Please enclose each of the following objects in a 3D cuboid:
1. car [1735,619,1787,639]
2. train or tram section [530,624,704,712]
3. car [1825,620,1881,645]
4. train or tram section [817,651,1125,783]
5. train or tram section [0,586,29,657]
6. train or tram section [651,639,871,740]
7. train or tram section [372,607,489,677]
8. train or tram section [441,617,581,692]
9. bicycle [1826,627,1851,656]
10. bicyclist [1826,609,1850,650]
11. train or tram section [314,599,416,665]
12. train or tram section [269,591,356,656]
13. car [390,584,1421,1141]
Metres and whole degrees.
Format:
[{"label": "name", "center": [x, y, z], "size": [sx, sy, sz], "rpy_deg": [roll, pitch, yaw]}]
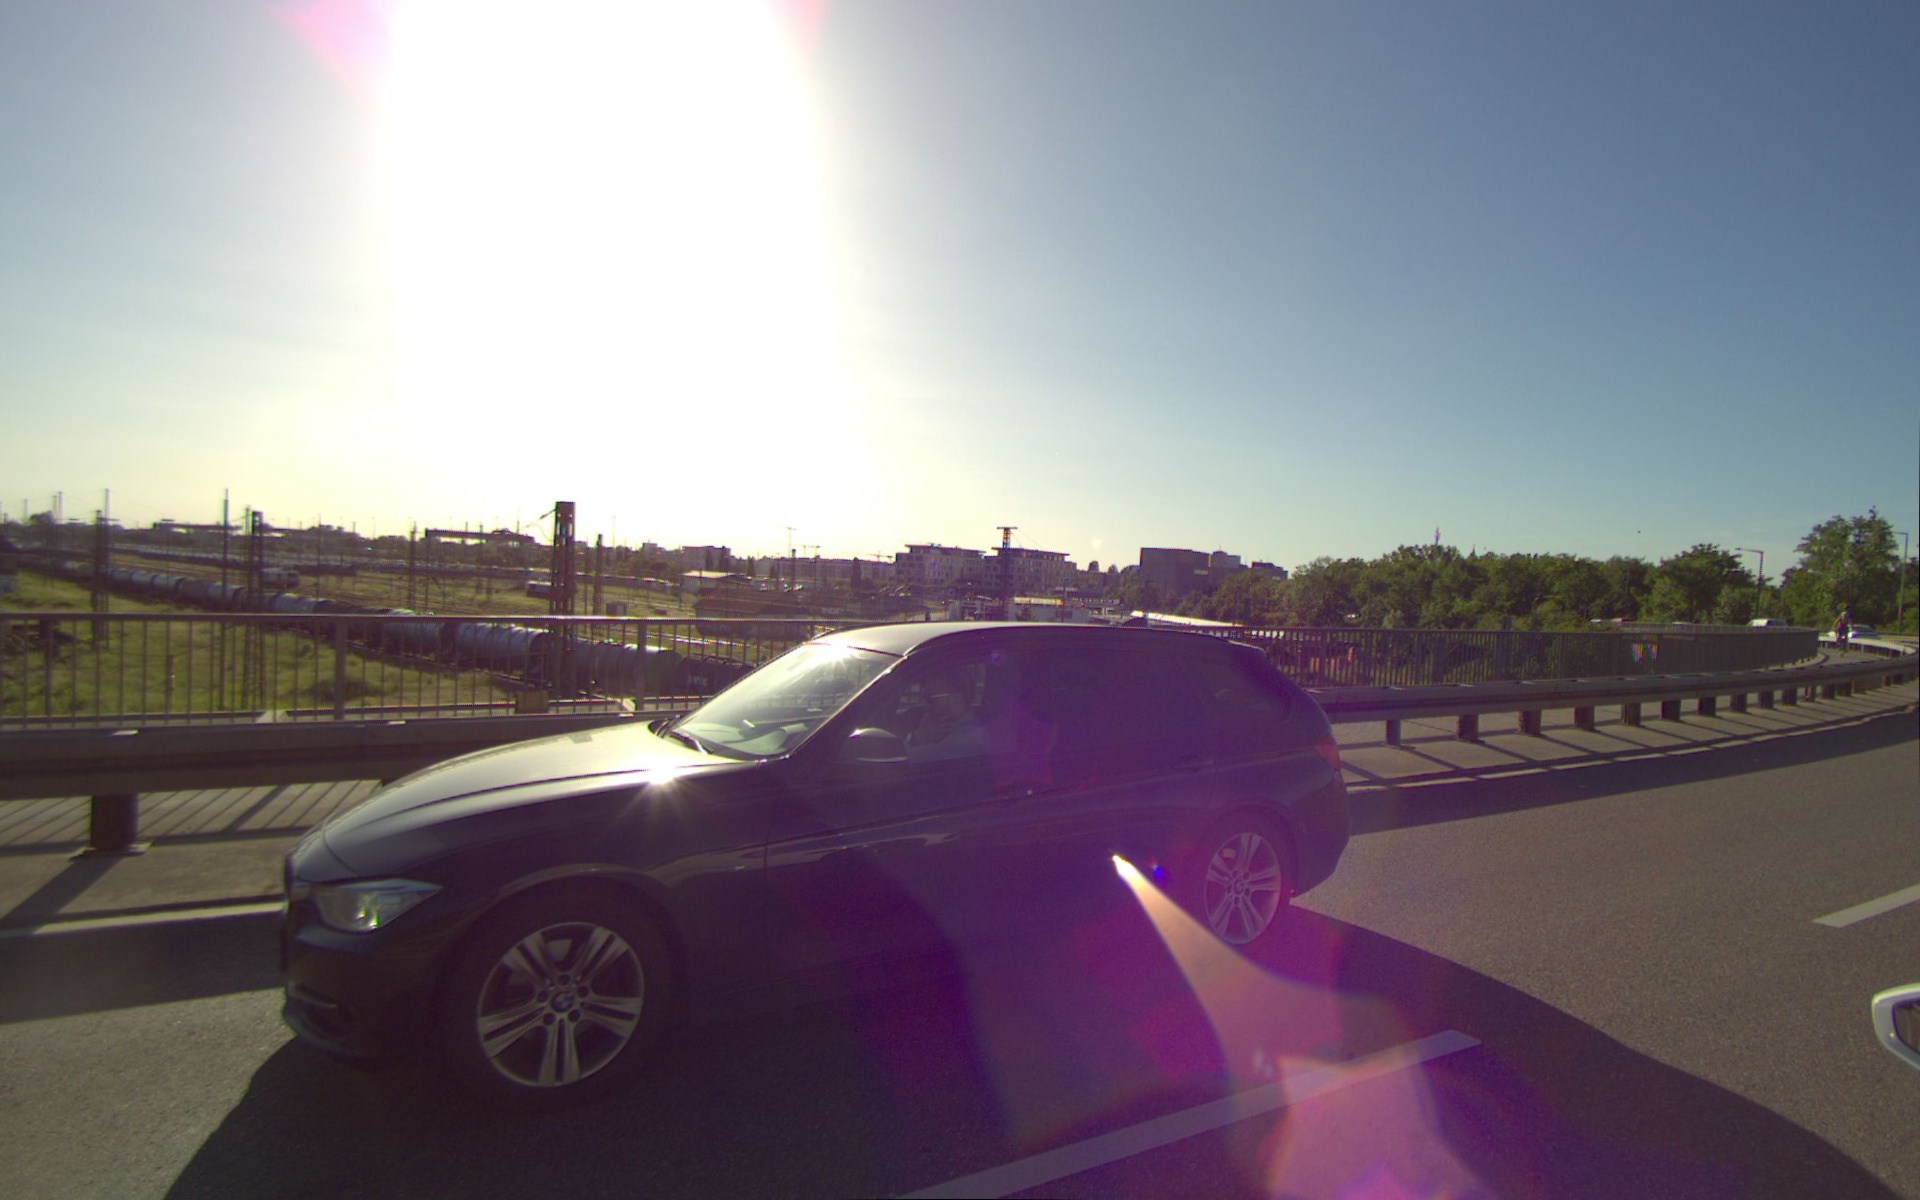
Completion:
[{"label": "car", "center": [68.704, 2.446, 86.247], "size": [1.804, 1.576, 3.896], "rpy_deg": [1, 0, 10]}, {"label": "train or tram section", "center": [-24.515, 4.476, 70.834], "size": [16.421, 5.083, 3.886], "rpy_deg": [1, 0, 41]}, {"label": "car", "center": [63.350, 2.267, 71.330], "size": [1.829, 1.606, 3.912], "rpy_deg": [1, 0, 23]}, {"label": "train or tram section", "center": [-0.061, 5.299, 49.408], "size": [16.521, 4.652, 3.886], "rpy_deg": [1, 0, 41]}, {"label": "train or tram section", "center": [-78.587, 1.423, 80.067], "size": [19.061, 5.154, 4.030], "rpy_deg": [1, 0, 40]}, {"label": "train or tram section", "center": [-12.315, 5.009, 60.147], "size": [16.071, 4.652, 3.886], "rpy_deg": [1, 0, 41]}, {"label": "train or tram section", "center": [-48.883, 3.647, 92.240], "size": [16.261, 5.592, 3.886], "rpy_deg": [1, 0, 41]}, {"label": "train or tram section", "center": [-36.715, 4.187, 81.561], "size": [16.125, 5.083, 3.886], "rpy_deg": [1, 0, 41]}, {"label": "bicycle", "center": [34.734, 1.624, 39.743], "size": [0.645, 1.079, 1.882], "rpy_deg": [1, 0, 39]}, {"label": "bicyclist", "center": [34.716, 1.157, 39.704], "size": [0.646, 1.610, 0.765], "rpy_deg": [2, 0, 39]}, {"label": "train or tram section", "center": [-61.280, 3.075, 103.117], "size": [16.710, 6.089, 3.886], "rpy_deg": [1, 0, 41]}, {"label": "train or tram section", "center": [-73.693, 2.491, 113.980], "size": [16.261, 6.699, 3.886], "rpy_deg": [1, 0, 41]}, {"label": "car", "center": [-0.096, 0.727, 4.532], "size": [4.271, 1.458, 1.864], "rpy_deg": [2, 0, -31]}]
